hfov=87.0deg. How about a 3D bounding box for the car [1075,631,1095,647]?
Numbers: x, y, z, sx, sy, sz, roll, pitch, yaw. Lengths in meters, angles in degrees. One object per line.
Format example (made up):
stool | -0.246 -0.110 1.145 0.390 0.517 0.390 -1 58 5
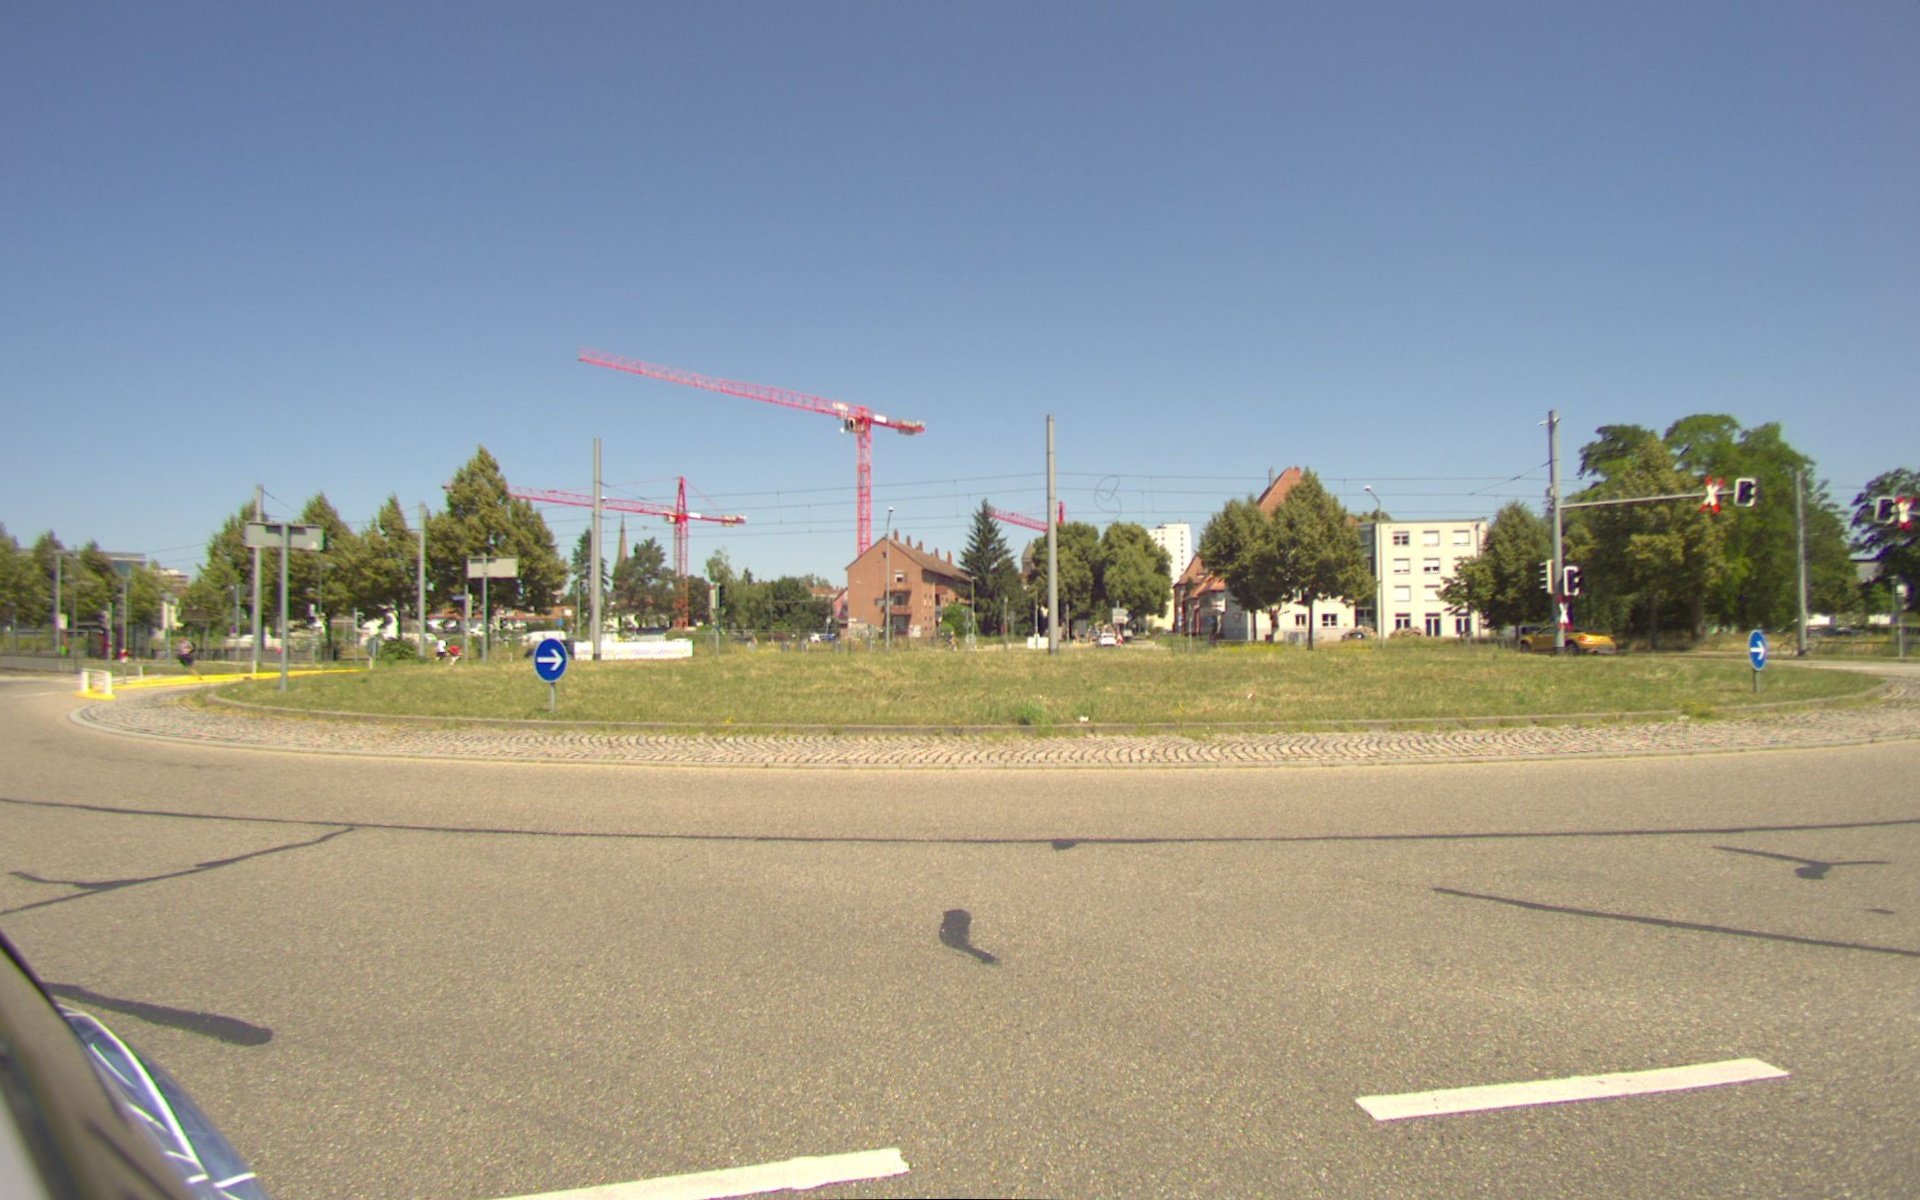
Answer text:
car | 16.100 4.982 130.509 1.982 2.029 3.980 0 -2 15

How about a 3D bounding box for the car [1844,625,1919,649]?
car | 64.791 2.573 70.783 1.965 1.586 4.013 2 -2 -26

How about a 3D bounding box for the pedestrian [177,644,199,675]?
pedestrian | -41.191 3.165 53.988 0.781 1.652 0.750 -1 -2 41

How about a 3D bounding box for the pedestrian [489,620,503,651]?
pedestrian | -30.748 2.362 67.037 0.600 2.029 0.589 0 -2 28

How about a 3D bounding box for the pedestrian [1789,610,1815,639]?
pedestrian | 42.127 1.236 50.662 0.697 1.461 0.820 2 -2 -33

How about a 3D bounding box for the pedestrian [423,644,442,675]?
pedestrian | -32.955 3.699 63.194 0.731 1.913 0.803 -1 -2 40

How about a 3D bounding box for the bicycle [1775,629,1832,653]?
bicycle | 42.152 2.041 50.621 0.717 1.123 2.064 2 -2 -34

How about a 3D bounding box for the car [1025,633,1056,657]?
car | 7.179 3.953 89.841 1.982 2.029 3.980 0 -2 15

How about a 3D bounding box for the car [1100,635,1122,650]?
car | 14.789 4.171 99.263 1.693 1.431 3.898 1 -2 2

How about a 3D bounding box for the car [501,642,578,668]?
car | -25.968 3.383 62.663 3.942 1.475 2.001 1 -2 -2

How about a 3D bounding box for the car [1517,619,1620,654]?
car | 25.619 1.528 42.721 1.803 1.413 3.667 0 -1 -7

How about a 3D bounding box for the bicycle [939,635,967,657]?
bicycle | -0.535 3.568 78.707 2.053 1.697 0.561 1 -2 -8

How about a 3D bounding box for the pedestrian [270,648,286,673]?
pedestrian | -39.166 3.486 58.116 0.543 1.417 0.589 -3 -3 40

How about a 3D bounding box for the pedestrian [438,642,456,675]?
pedestrian | -32.345 3.692 63.795 0.731 2.029 0.736 -1 -2 40

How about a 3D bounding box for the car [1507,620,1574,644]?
car | 43.469 2.370 75.832 3.965 1.697 1.989 0 -2 17
